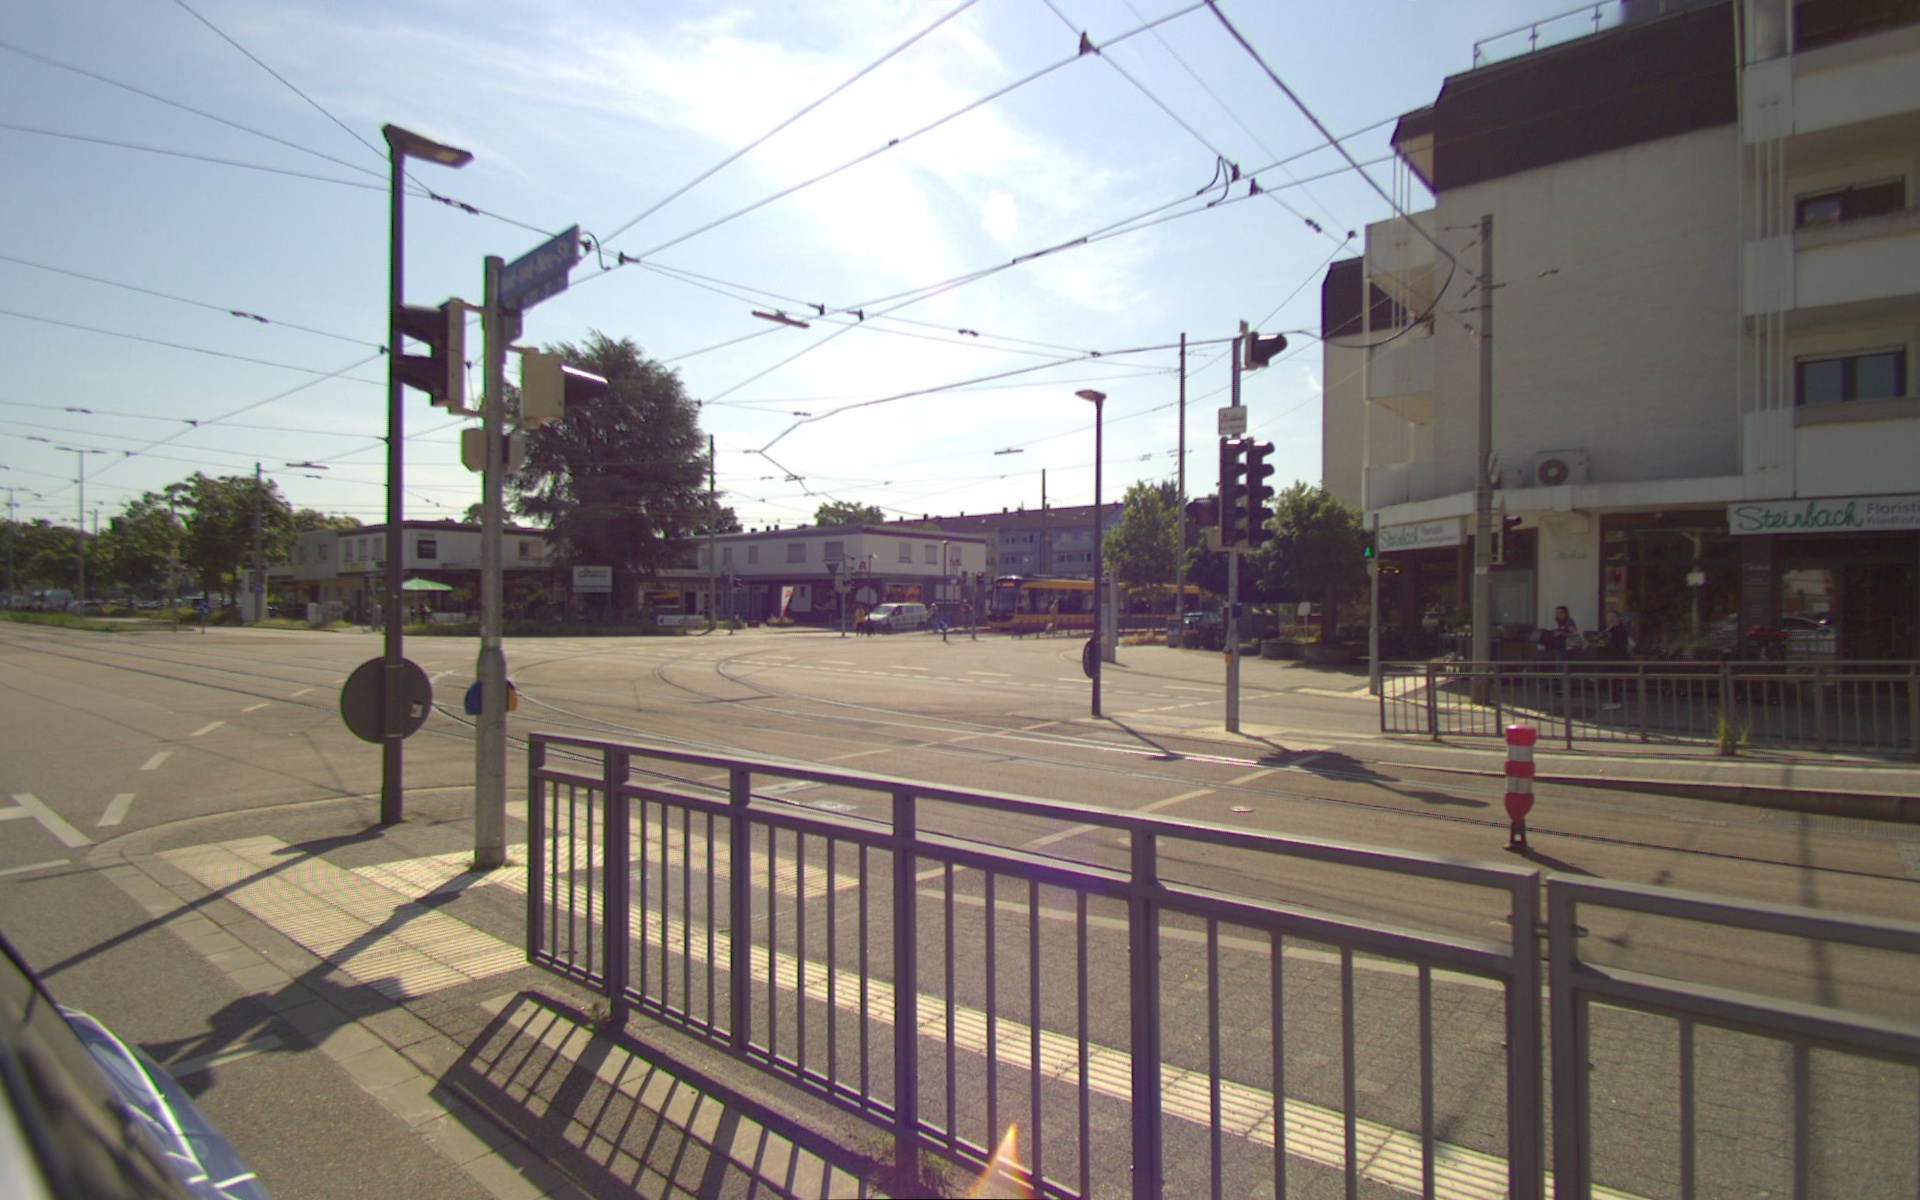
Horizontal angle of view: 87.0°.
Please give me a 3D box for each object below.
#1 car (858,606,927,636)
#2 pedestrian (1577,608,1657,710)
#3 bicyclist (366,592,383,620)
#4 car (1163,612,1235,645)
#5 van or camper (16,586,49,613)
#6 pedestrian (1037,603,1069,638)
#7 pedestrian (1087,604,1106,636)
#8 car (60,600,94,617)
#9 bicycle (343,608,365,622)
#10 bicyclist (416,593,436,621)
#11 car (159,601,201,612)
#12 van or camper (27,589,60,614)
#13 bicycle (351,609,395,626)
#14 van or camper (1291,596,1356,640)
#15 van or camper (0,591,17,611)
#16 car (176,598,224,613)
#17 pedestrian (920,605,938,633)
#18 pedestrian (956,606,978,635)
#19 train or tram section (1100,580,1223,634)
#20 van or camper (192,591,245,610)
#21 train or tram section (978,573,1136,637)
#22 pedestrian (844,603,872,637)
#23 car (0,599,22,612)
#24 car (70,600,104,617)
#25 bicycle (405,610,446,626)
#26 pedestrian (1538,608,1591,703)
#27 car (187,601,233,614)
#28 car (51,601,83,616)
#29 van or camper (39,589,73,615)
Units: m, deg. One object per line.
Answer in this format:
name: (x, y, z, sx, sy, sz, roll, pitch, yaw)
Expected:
car: (-4.354, 1.353, 65.741, 1.776, 1.876, 4.597, 0, -1, 40)
pedestrian: (10.928, 0.970, 16.853, 0.867, 1.660, 0.681, 1, -1, -5)
bicyclist: (-33.181, 0.332, 57.347, 0.753, 1.570, 0.634, 3, -2, -29)
car: (11.762, 1.374, 49.716, 1.827, 1.511, 4.131, 0, -1, 39)
van or camper: (-107.042, -0.068, 116.733, 5.277, 3.007, 2.101, 0, -1, 40)
pedestrian: (5.027, 1.096, 54.658, 1.123, 1.850, 1.418, 0, -1, 44)
pedestrian: (7.742, 1.125, 57.275, 0.763, 1.773, 0.800, 0, -1, 42)
car: (-87.729, 0.843, 100.526, 4.282, 1.572, 1.869, 0, -1, 40)
bicycle: (-43.681, 1.082, 72.937, 1.910, 0.990, 0.750, 0, -1, 41)
bicyclist: (-30.621, 0.377, 57.997, 0.757, 1.586, 0.630, 0, -1, 11)
car: (-90.227, 0.754, 117.116, 1.710, 1.291, 3.580, 0, -1, 39)
van or camper: (-101.075, 0.167, 111.571, 4.836, 2.652, 2.014, 0, -1, 40)
bicycle: (-33.199, 0.989, 57.256, 2.099, 0.954, 0.537, 1, -1, -26)
van or camper: (22.771, 1.104, 63.357, 2.374, 2.644, 4.826, 0, -1, 39)
van or camper: (-127.903, 0.112, 135.249, 5.449, 2.639, 2.087, 0, -2, 41)
car: (-80.765, 0.589, 107.633, 1.949, 1.581, 3.703, 0, -1, 39)
pedestrian: (-1.797, 1.118, 58.996, 0.784, 1.639, 0.651, 0, -1, 41)
pedestrian: (0.402, 1.236, 61.451, 0.813, 1.693, 1.079, 0, -1, 41)
train or tram section: (15.268, 0.599, 75.189, 2.766, 3.686, 13.723, 0, -1, 40)
van or camper: (-111.699, 0.142, 152.480, 2.299, 2.751, 6.001, 0, -1, 42)
train or tram section: (6.534, 0.397, 64.658, 2.766, 3.686, 13.723, 0, -1, 40)
pedestrian: (-5.557, 1.096, 55.228, 0.896, 1.851, 1.185, 0, -1, 41)
car: (-123.087, 0.683, 131.017, 4.229, 1.572, 1.869, 0, -1, 40)
car: (-83.514, 0.787, 96.798, 4.284, 1.506, 1.868, 0, 2, 42)
bicycle: (-30.596, 1.049, 57.959, 2.110, 0.897, 0.575, 1, -1, 7)
pedestrian: (10.931, 0.980, 18.297, 0.732, 1.660, 0.672, 0, -1, 40)
car: (-78.732, 0.800, 106.219, 1.710, 1.372, 3.580, 0, -1, 39)
car: (-91.543, 0.871, 103.767, 4.229, 1.506, 1.869, 0, -1, 40)
van or camper: (-95.658, 0.223, 107.057, 4.836, 2.652, 2.014, 0, -1, 40)
